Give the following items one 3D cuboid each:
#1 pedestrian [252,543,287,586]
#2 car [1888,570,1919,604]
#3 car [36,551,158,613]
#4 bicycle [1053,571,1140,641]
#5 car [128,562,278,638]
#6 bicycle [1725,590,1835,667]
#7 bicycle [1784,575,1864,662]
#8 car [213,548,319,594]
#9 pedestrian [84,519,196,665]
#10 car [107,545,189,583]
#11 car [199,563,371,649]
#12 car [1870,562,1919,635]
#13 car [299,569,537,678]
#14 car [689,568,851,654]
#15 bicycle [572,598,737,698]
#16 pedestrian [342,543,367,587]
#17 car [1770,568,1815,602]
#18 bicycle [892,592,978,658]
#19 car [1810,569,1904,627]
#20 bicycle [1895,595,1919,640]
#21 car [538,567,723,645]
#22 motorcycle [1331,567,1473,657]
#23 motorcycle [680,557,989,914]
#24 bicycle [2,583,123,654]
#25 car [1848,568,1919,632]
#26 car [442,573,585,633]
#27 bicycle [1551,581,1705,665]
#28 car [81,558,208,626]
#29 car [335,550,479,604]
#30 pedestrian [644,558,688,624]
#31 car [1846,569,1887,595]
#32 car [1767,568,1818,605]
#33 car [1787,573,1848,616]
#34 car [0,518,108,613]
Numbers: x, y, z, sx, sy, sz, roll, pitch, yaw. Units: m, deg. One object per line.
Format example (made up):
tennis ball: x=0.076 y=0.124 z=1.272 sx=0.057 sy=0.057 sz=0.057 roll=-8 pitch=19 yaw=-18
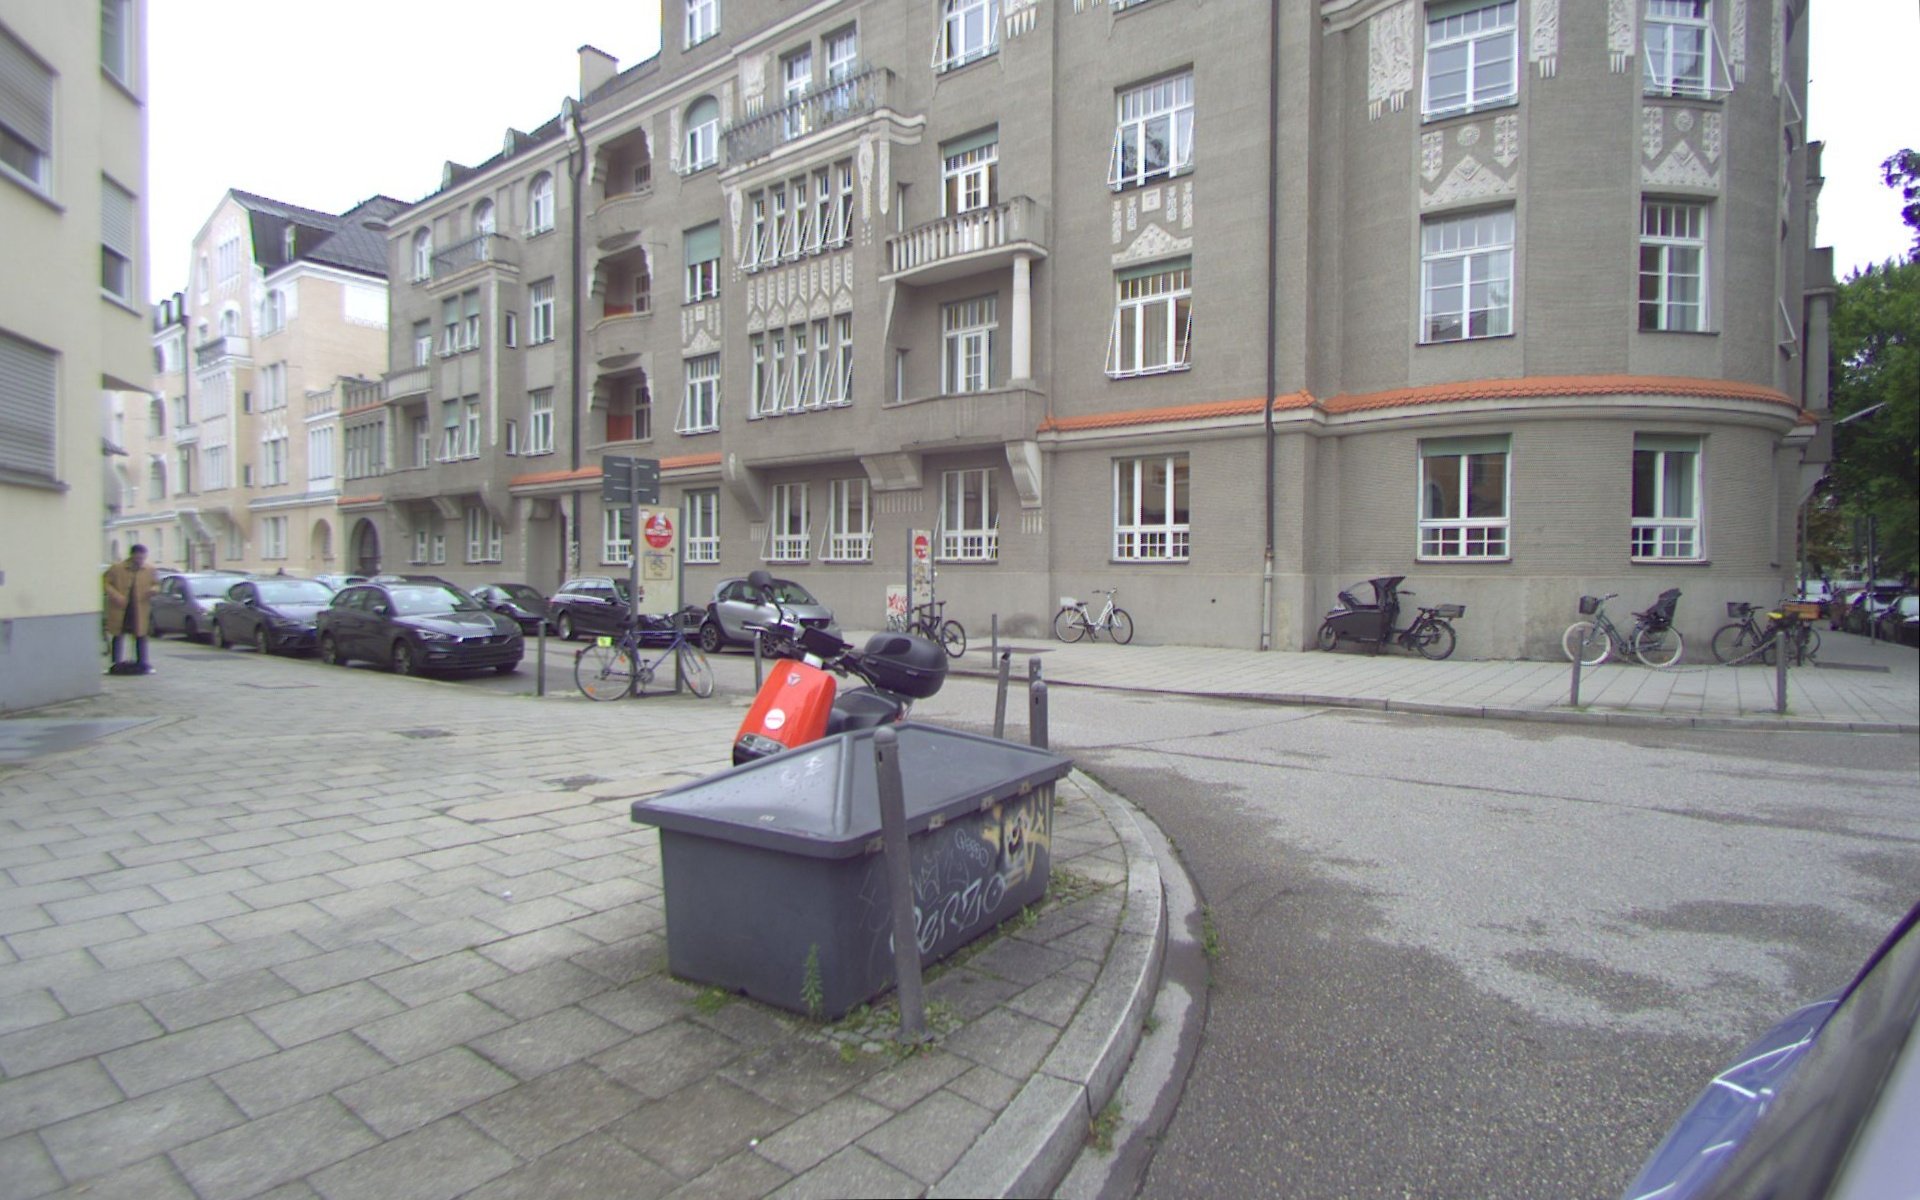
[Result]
pedestrian: x=-28.845 y=-1.486 z=42.291 sx=0.934 sy=1.750 sz=0.983 roll=2 pitch=2 yaw=37
car: x=57.934 y=-0.810 z=61.356 sx=1.989 sy=1.975 sz=4.599 roll=2 pitch=3 yaw=37
car: x=-26.107 y=-0.617 z=30.572 sx=4.651 sy=1.709 sz=1.973 roll=2 pitch=4 yaw=39
bicycle: x=2.796 y=0.102 z=20.846 sx=1.664 sy=1.366 sz=0.613 roll=2 pitch=2 yaw=34
car: x=-17.437 y=-0.060 z=23.272 sx=3.829 sy=1.555 sz=1.620 roll=2 pitch=3 yaw=34
bicycle: x=13.522 y=0.445 z=16.686 sx=1.886 sy=1.170 sz=0.566 roll=0 pitch=5 yaw=-25
bicycle: x=15.223 y=0.295 z=17.821 sx=1.892 sy=1.431 sz=0.737 roll=-1 pitch=3 yaw=-40
car: x=-25.409 y=-1.098 z=36.997 sx=4.581 sy=1.532 sz=1.819 roll=3 pitch=3 yaw=36
pedestrian: x=-10.895 y=-0.082 z=13.453 sx=1.005 sy=1.872 sz=0.736 roll=-2 pitch=-3 yaw=23
car: x=-37.572 y=-1.700 z=46.794 sx=4.593 sy=1.679 sz=1.931 roll=3 pitch=3 yaw=38
car: x=-13.299 y=0.047 z=19.884 sx=3.832 sy=1.489 sz=1.618 roll=3 pitch=3 yaw=36
car: x=27.982 y=-0.090 z=29.108 sx=1.987 sy=1.975 sz=4.605 roll=2 pitch=3 yaw=34
car: x=-9.009 y=0.283 z=16.679 sx=4.584 sy=1.489 sz=1.676 roll=3 pitch=3 yaw=36
car: x=-3.821 y=0.194 z=20.213 sx=2.897 sy=1.534 sz=1.685 roll=2 pitch=0 yaw=39
bicycle: x=-3.583 y=0.542 z=11.891 sx=1.760 sy=1.099 sz=0.667 roll=1 pitch=0 yaw=-25
pedestrian: x=-25.849 y=-1.509 z=43.192 sx=0.726 sy=1.839 sz=0.709 roll=2 pitch=2 yaw=37
car: x=52.433 y=-0.990 z=63.812 sx=1.989 sy=1.975 sz=4.599 roll=2 pitch=3 yaw=37
bicycle: x=-0.422 y=0.415 z=17.981 sx=0.537 sy=1.027 sz=1.785 roll=2 pitch=4 yaw=36
car: x=33.780 y=-0.142 z=38.240 sx=1.987 sy=1.975 sz=4.605 roll=2 pitch=3 yaw=34
bicycle: x=25.969 y=0.486 z=26.811 sx=0.502 sy=1.161 sz=1.684 roll=-1 pitch=3 yaw=-36
car: x=-7.545 y=0.062 z=22.960 sx=4.685 sy=1.534 sz=1.736 roll=3 pitch=2 yaw=39
motorcycle: x=7.679 y=0.165 z=17.634 sx=2.135 sy=1.458 sz=0.729 roll=2 pitch=3 yaw=37
motorcycle: x=-0.488 y=0.504 z=5.025 sx=0.805 sy=1.373 sz=2.075 roll=1 pitch=1 yaw=15
bicycle: x=-14.324 y=0.275 z=16.218 sx=0.737 sy=1.045 sz=1.803 roll=2 pitch=1 yaw=-17
car: x=31.174 y=-0.063 z=33.531 sx=1.987 sy=1.975 sz=4.605 roll=2 pitch=3 yaw=34
car: x=-11.570 y=0.030 z=26.142 sx=4.077 sy=1.347 sz=1.736 roll=3 pitch=2 yaw=39
bicycle: x=10.777 y=0.352 z=16.388 sx=1.893 sy=1.271 sz=0.737 roll=1 pitch=2 yaw=8
car: x=-21.411 y=-0.255 z=26.519 sx=3.944 sy=1.611 sz=1.618 roll=2 pitch=3 yaw=36
car: x=-16.545 y=-0.720 z=30.196 sx=4.752 sy=1.466 sz=1.974 roll=3 pitch=2 yaw=37
pedestrian: x=-8.217 y=-0.272 z=28.299 sx=0.932 sy=1.809 sz=0.829 roll=2 pitch=3 yaw=41
car: x=71.124 y=-1.440 z=79.442 sx=1.989 sy=1.975 sz=4.599 roll=2 pitch=3 yaw=37
car: x=47.770 y=-0.799 z=58.136 sx=1.989 sy=1.975 sz=4.599 roll=2 pitch=3 yaw=37
car: x=42.801 y=-0.336 z=50.596 sx=1.989 sy=1.975 sz=4.599 roll=2 pitch=3 yaw=37
car: x=-31.607 y=-1.304 z=34.836 sx=6.101 sy=2.995 sz=2.232 roll=4 pitch=4 yaw=38
